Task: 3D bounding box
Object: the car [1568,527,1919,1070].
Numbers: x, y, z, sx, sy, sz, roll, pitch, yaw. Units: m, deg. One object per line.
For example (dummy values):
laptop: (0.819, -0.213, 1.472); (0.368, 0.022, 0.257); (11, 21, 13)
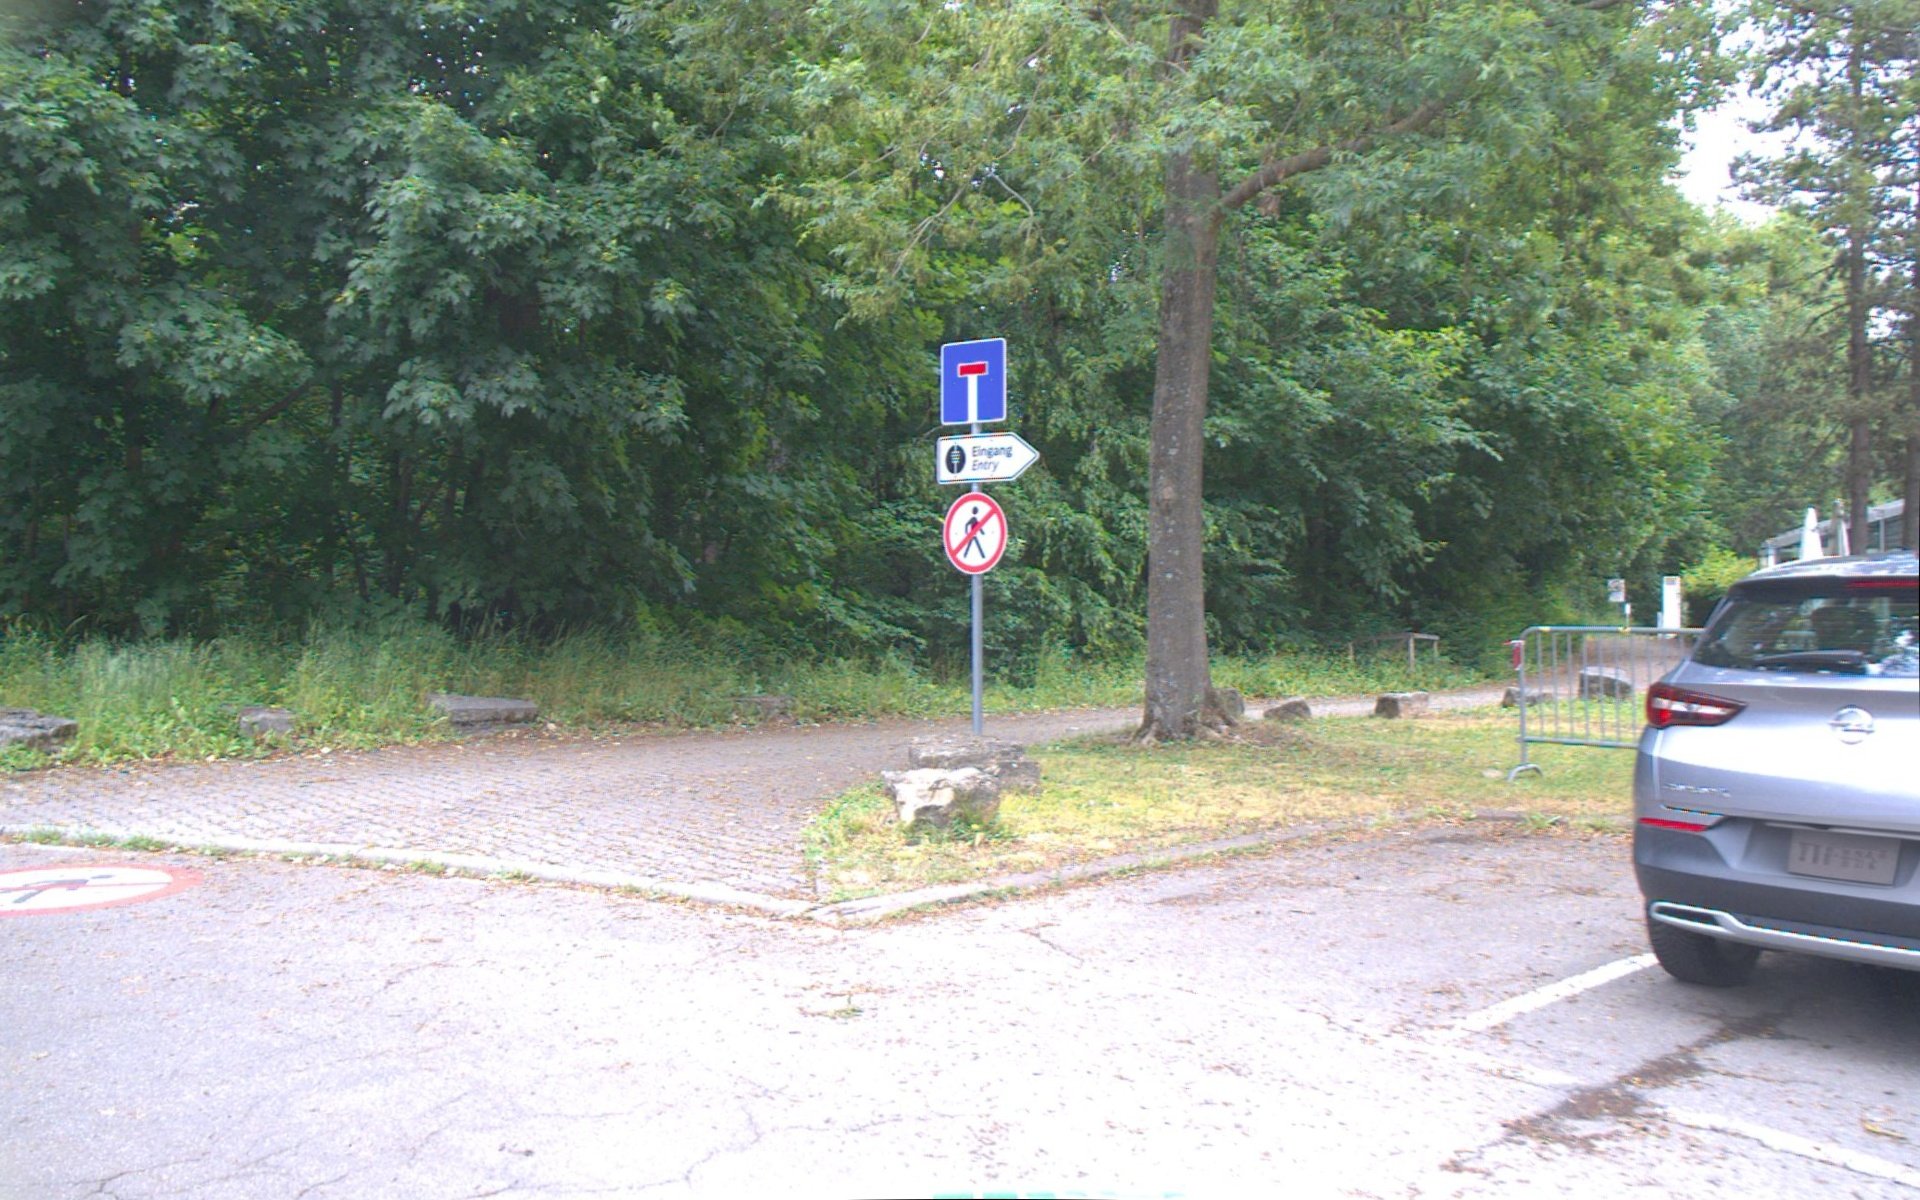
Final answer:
car: (4.203, 0.579, 6.388); (3.966, 1.612, 1.870); (0, 1, -42)
